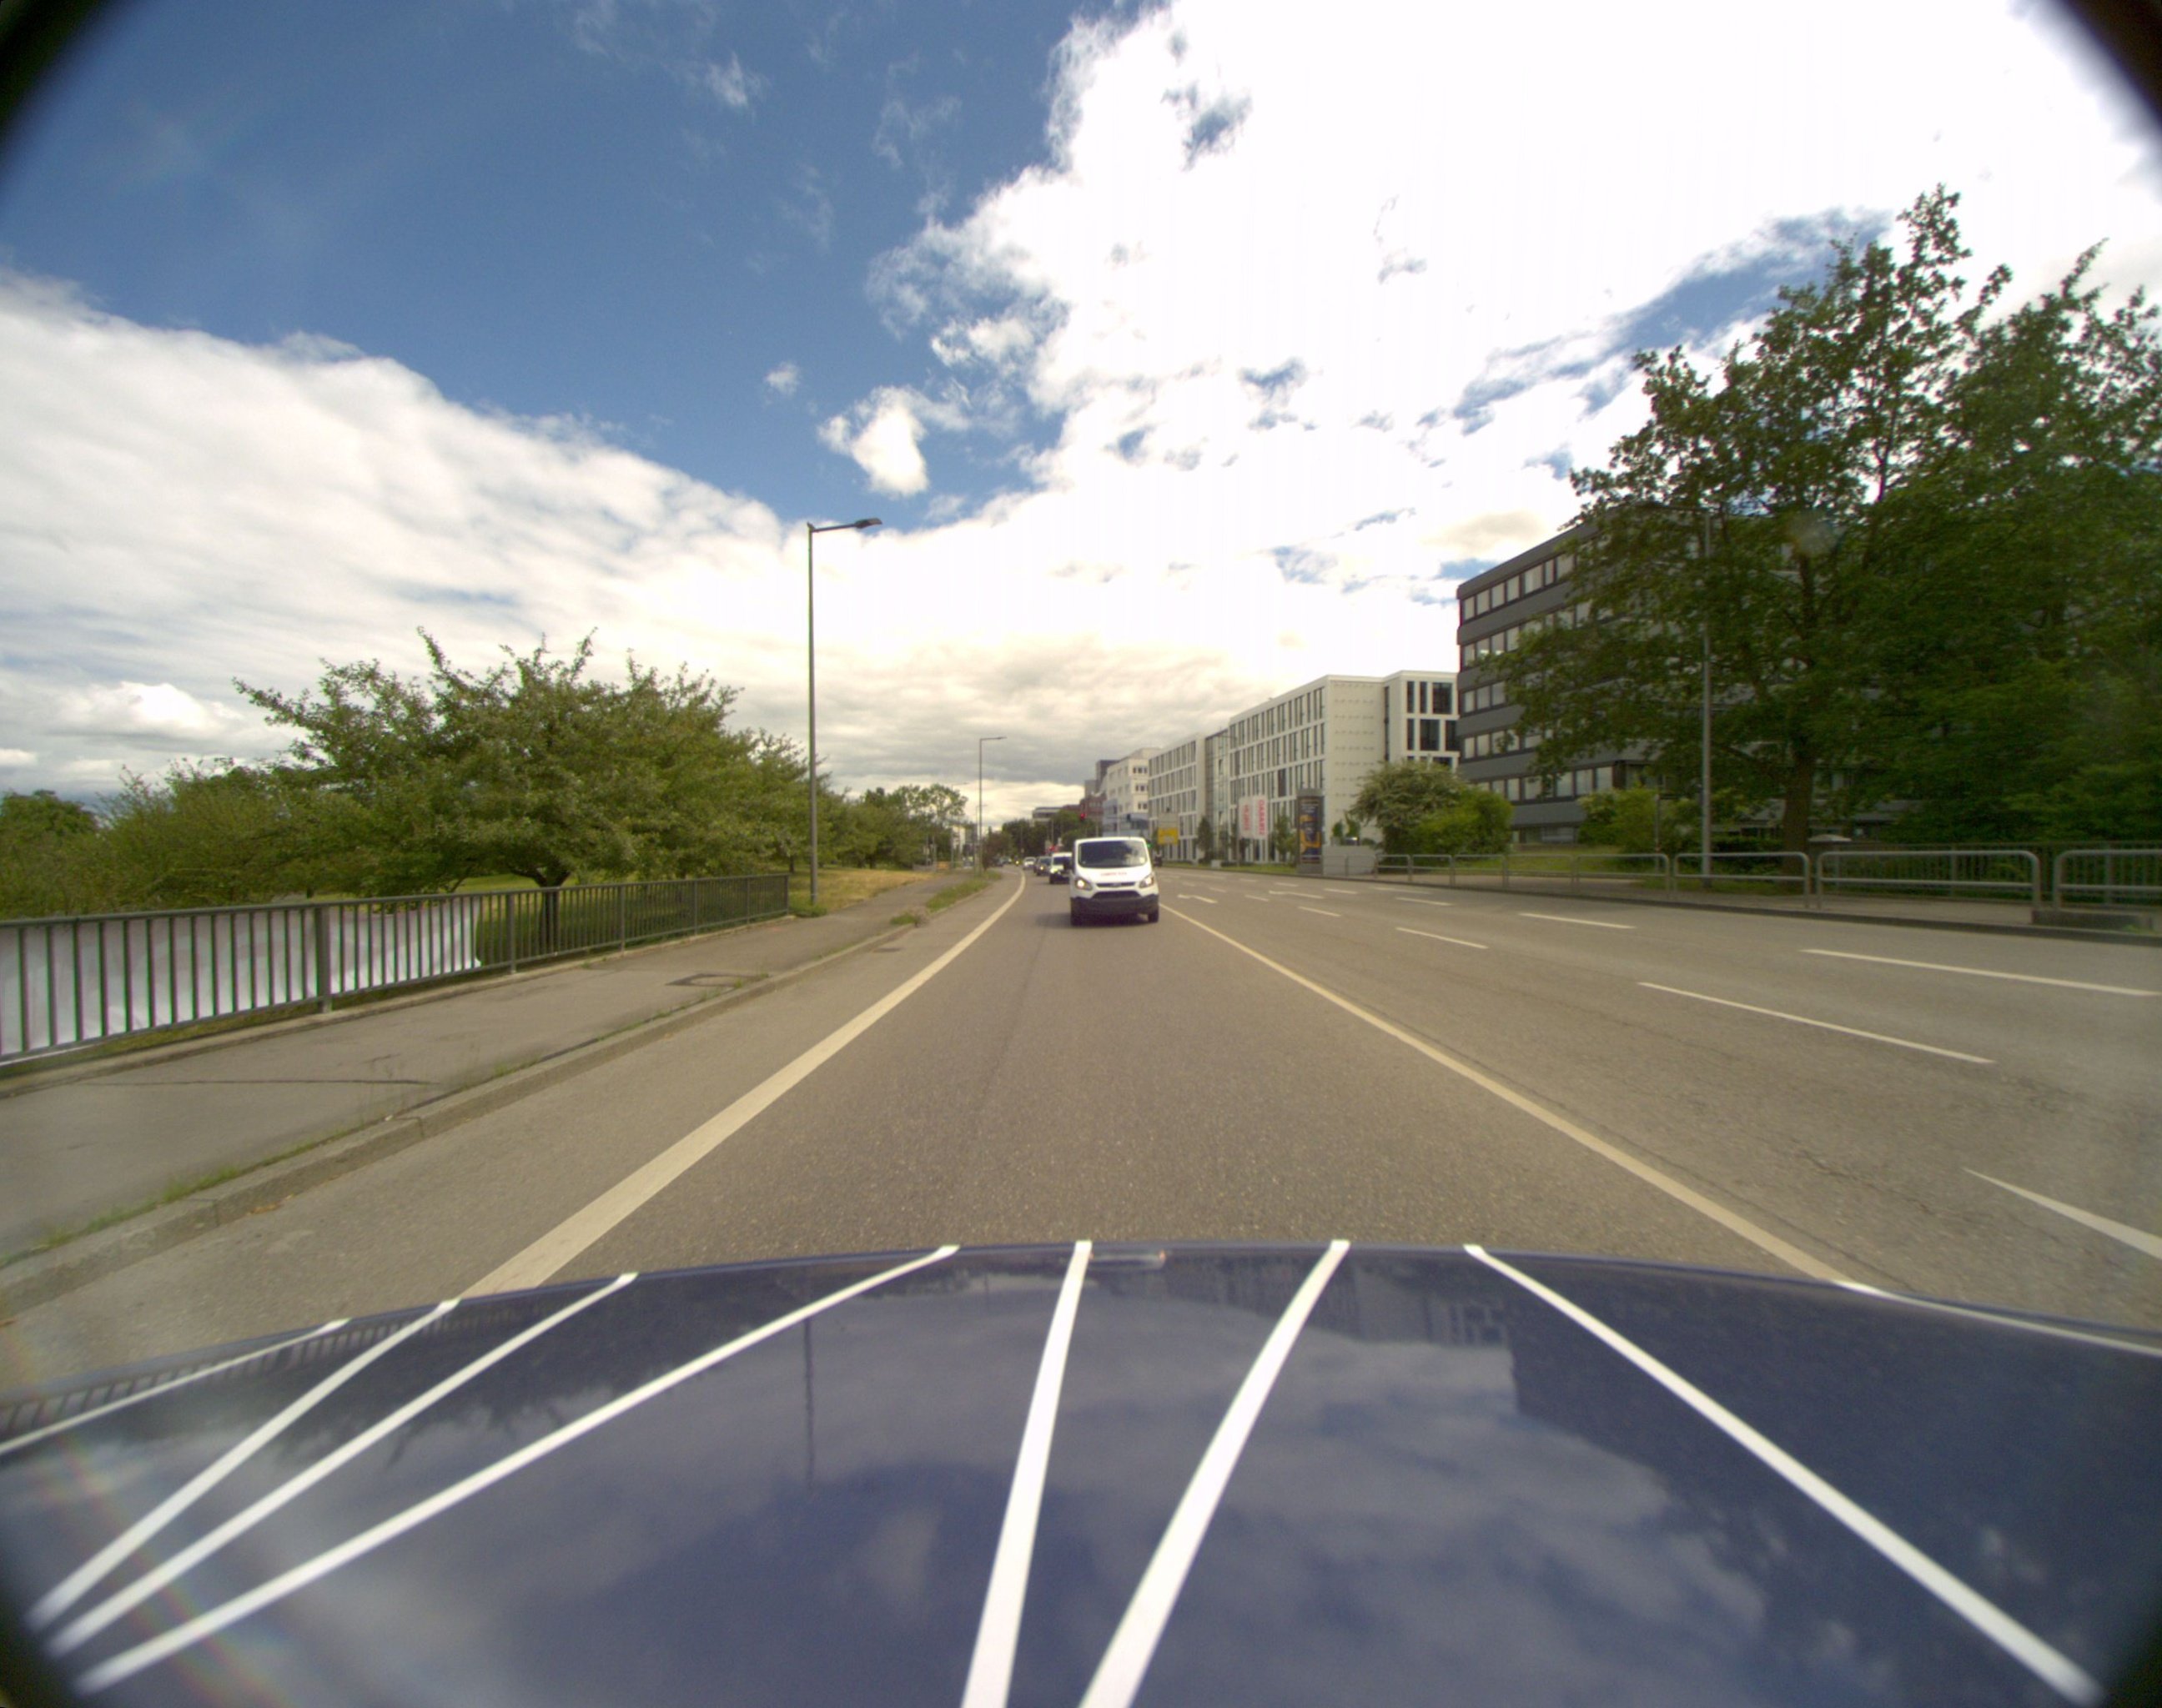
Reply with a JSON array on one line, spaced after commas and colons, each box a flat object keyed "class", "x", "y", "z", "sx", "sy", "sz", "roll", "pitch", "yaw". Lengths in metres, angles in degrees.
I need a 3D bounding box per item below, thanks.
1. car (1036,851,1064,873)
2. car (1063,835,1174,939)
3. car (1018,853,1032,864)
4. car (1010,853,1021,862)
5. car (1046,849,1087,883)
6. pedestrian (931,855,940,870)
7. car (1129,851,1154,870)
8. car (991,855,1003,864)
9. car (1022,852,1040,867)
[{"class": "car", "x": -2.589, "y": 0.642, "z": 63.102, "sx": 1.873, "sy": 1.685, "sz": 4.368, "roll": -2, "pitch": 0, "yaw": -8}, {"class": "car", "x": 0.750, "y": 0.640, "z": 18.035, "sx": 2.122, "sy": 1.963, "sz": 6.206, "roll": -2, "pitch": 0, "yaw": 0}, {"class": "car", "x": -9.012, "y": 0.642, "z": 122.659, "sx": 1.874, "sy": 1.685, "sz": 4.367, "roll": -2, "pitch": 0, "yaw": -9}, {"class": "car", "x": -12.558, "y": 0.698, "z": 144.679, "sx": 1.873, "sy": 1.685, "sz": 4.368, "roll": -2, "pitch": 0, "yaw": -8}, {"class": "car", "x": -0.899, "y": 0.652, "z": 44.901, "sx": 1.873, "sy": 1.836, "sz": 4.368, "roll": -2, "pitch": 0, "yaw": -8}, {"class": "pedestrian", "x": -19.053, "y": 1.099, "z": 99.182, "sx": 0.799, "sy": 1.872, "sz": 0.767, "roll": -2, "pitch": 1, "yaw": 19}, {"class": "car", "x": 6.509, "y": 0.715, "z": 82.375, "sx": 2.024, "sy": 1.936, "sz": 5.363, "roll": -1, "pitch": 0, "yaw": -3}, {"class": "car", "x": -13.309, "y": 0.844, "z": 120.305, "sx": 1.736, "sy": 1.432, "sz": 4.365, "roll": -2, "pitch": 0, "yaw": -8}, {"class": "car", "x": -6.144, "y": 0.691, "z": 93.081, "sx": 1.873, "sy": 1.685, "sz": 4.368, "roll": -2, "pitch": 0, "yaw": -8}]
